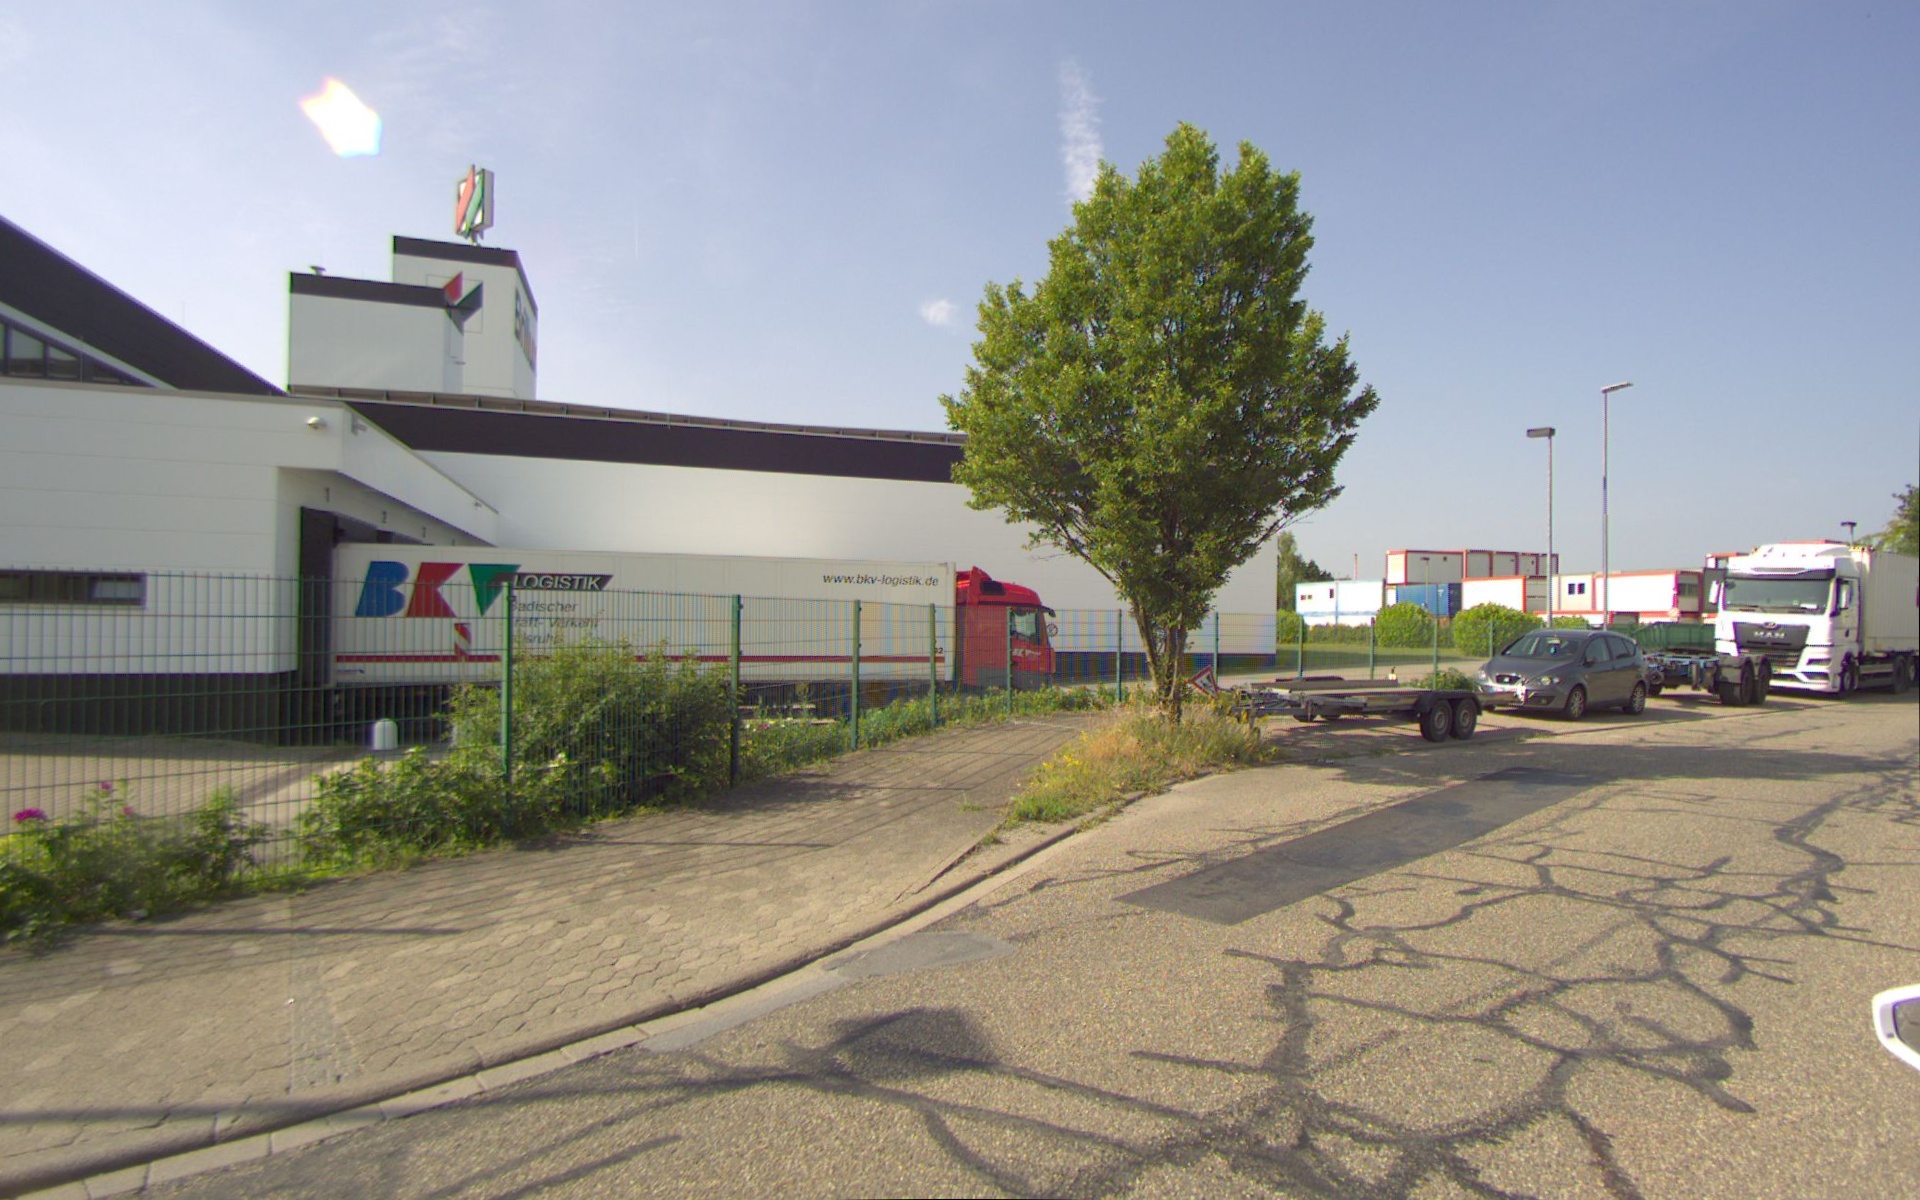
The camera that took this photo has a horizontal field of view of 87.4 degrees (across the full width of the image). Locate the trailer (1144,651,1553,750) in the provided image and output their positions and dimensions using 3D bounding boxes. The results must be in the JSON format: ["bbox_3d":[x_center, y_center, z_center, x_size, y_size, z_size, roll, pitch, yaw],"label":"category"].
[{"bbox_3d":[6.027,1.359,15.112,6.644,0.937,2.529,2,2,-36],"label":"trailer"}]

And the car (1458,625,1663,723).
[{"bbox_3d":[11.464,1.341,19.093,4.291,1.582,1.685,2,1,-35],"label":"car"}]

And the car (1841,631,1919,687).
[{"bbox_3d":[30.827,1.889,32.934,4.545,1.662,1.979,2,0,-37],"label":"car"}]

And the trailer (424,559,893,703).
[{"bbox_3d":[-9.252,1.110,32.441,13.794,4.060,2.851,2,0,-19],"label":"trailer"}]

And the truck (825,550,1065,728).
[{"bbox_3d":[-0.410,1.015,25.617,5.459,4.125,2.510,3,0,-19],"label":"truck"}]

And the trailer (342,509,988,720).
[{"bbox_3d":[-6.251,0.546,23.595,13.674,4.095,2.479,3,0,-19],"label":"trailer"}]

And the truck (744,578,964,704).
[{"bbox_3d":[-3.654,1.415,34.423,6.907,3.922,2.761,3,0,-20],"label":"truck"}]

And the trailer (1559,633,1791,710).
[{"bbox_3d":[16.250,1.548,22.792,5.023,1.473,2.665,2,-1,-33],"label":"trailer"}]

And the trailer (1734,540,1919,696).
[{"bbox_3d":[25.258,0.594,28.803,7.501,3.973,2.681,3,0,-35],"label":"trailer"}]

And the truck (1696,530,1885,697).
[{"bbox_3d":[21.787,0.392,26.325,4.255,3.973,2.691,3,0,-35],"label":"truck"}]
